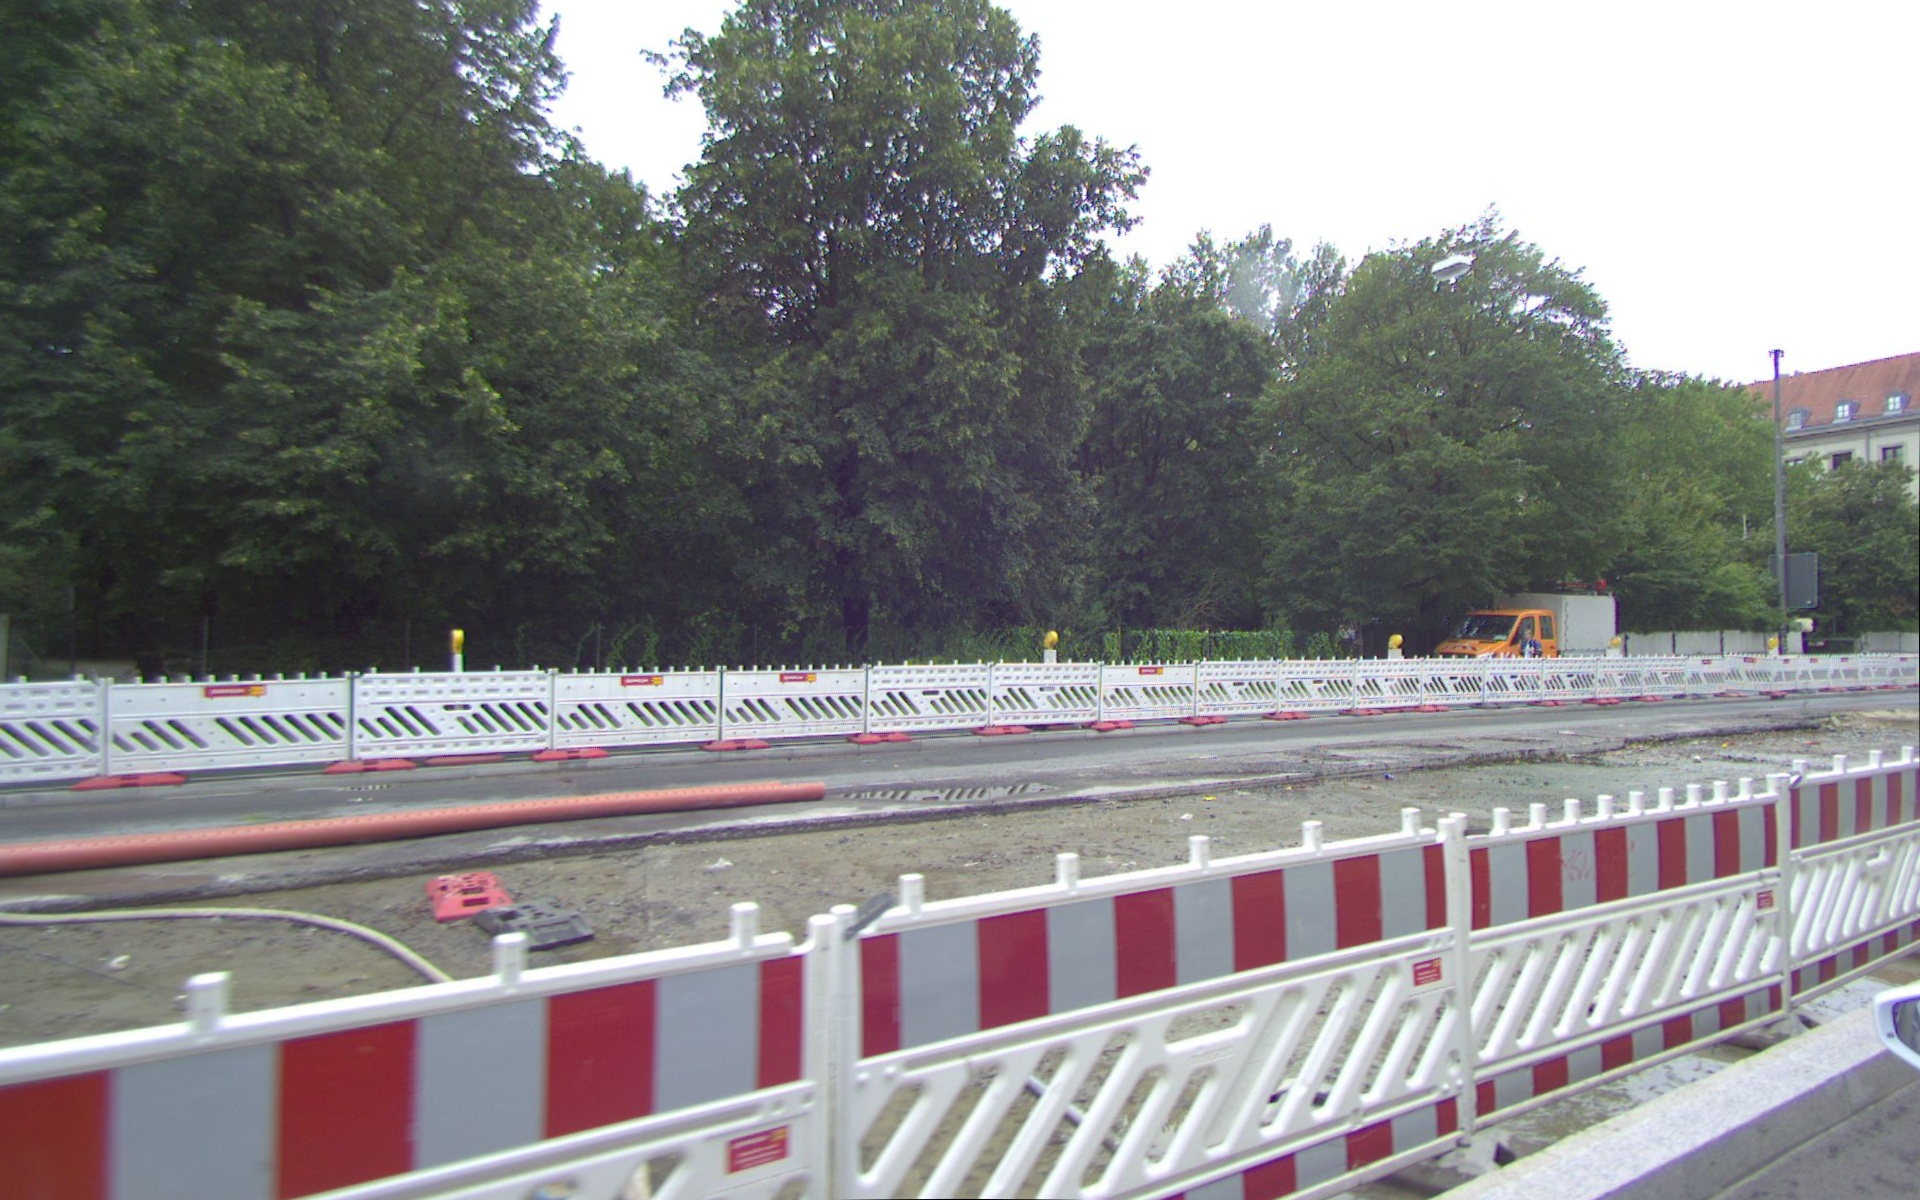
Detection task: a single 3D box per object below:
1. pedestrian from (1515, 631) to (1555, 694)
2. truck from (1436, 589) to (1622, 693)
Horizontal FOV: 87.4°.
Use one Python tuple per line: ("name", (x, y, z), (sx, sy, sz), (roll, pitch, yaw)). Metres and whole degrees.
("pedestrian", (15.112, 1.621, 26.402), (0.689, 1.624, 0.660), (1, -1, -29))
("truck", (16.527, 1.163, 29.088), (5.799, 2.764, 1.985), (1, -2, -30))
